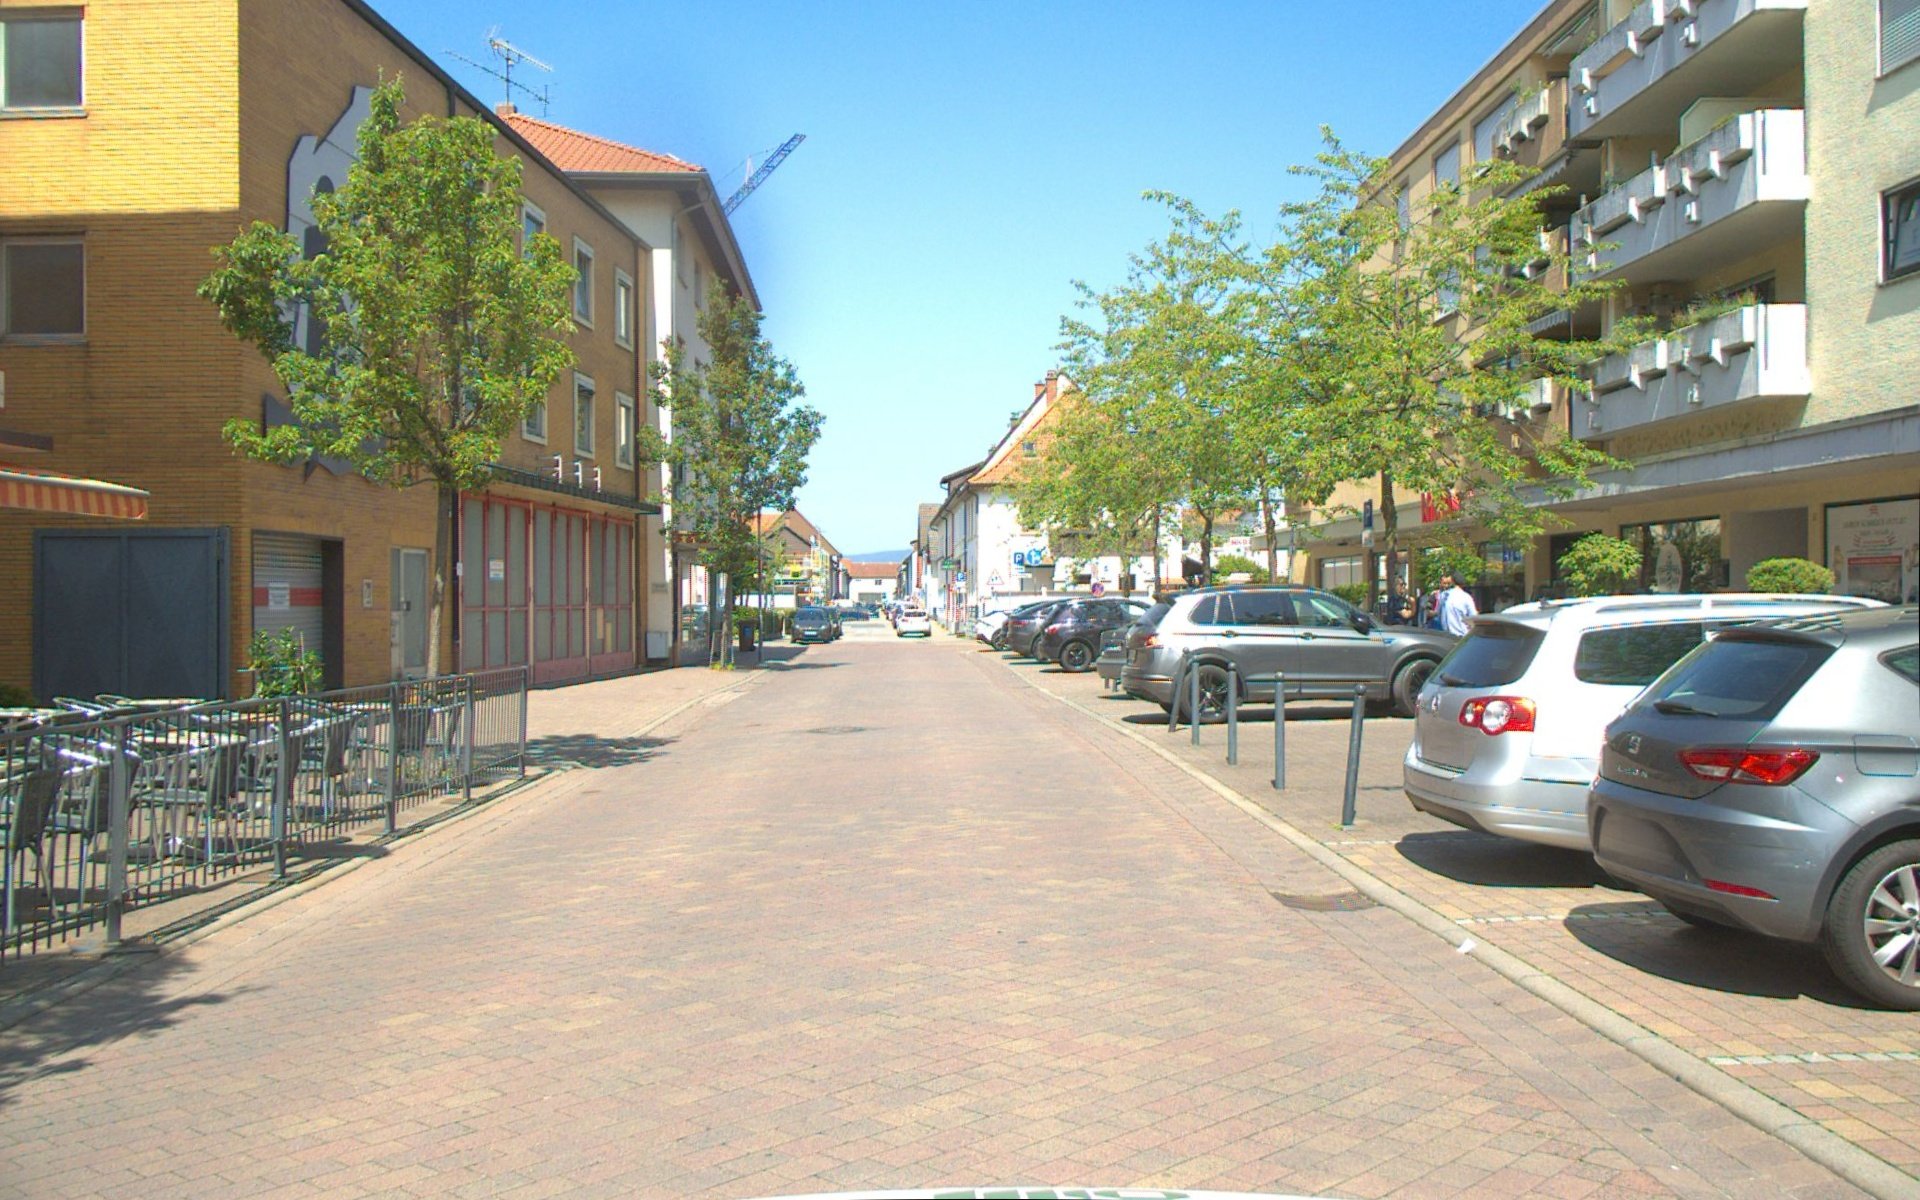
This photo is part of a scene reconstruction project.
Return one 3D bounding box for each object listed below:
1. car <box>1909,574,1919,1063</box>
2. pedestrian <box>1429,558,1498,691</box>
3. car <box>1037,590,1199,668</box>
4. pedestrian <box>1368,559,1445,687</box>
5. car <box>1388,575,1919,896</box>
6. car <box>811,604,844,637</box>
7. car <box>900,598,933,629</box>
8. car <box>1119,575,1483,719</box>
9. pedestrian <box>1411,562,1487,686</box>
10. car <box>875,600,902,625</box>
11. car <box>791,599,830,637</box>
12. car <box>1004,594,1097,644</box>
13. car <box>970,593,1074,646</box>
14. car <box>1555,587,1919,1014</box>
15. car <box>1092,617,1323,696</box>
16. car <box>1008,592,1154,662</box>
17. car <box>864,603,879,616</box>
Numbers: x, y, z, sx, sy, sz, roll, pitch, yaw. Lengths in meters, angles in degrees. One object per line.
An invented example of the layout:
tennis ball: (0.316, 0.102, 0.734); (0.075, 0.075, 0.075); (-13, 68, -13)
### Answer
car: (5.190, 0.655, 4.558); (4.101, 1.568, 1.944); (-1, 0, -6)
pedestrian: (7.049, 0.332, 23.184); (0.819, 1.818, 0.807); (-1, 1, 10)
car: (3.577, 0.646, 37.772); (3.452, 1.684, 1.709); (-1, -1, -3)
pedestrian: (6.530, 0.321, 24.215); (0.822, 1.818, 0.805); (-1, 1, -8)
car: (4.700, 0.677, 9.401); (4.068, 1.601, 1.759); (-1, 1, -1)
car: (-6.766, 1.020, 84.530); (1.477, 1.526, 3.826); (-1, 1, -2)
car: (-2.415, 0.728, 91.593); (1.794, 1.559, 3.944); (-1, 1, -2)
car: (4.168, 0.557, 20.557); (4.159, 1.643, 1.557); (-1, 0, -3)
pedestrian: (7.332, 0.343, 24.844); (0.822, 1.818, 0.805); (-1, 1, -8)
car: (-4.781, 0.825, 111.158); (1.711, 1.507, 3.628); (-1, 1, -1)
car: (-6.530, 0.768, 72.532); (1.477, 1.526, 3.826); (-1, 1, -2)
car: (3.306, 0.694, 60.958); (3.281, 1.745, 1.469); (-1, -1, -3)
car: (2.155, 0.672, 57.837); (3.412, 1.730, 1.533); (-2, 0, -7)
car: (4.658, 0.692, 6.732); (3.855, 1.515, 1.716); (-1, 0, 3)
car: (3.927, 0.881, 26.445); (3.454, 1.161, 1.272); (-1, -1, -6)
car: (3.007, 0.662, 41.439); (3.452, 1.653, 1.709); (-1, -1, -3)
car: (-10.589, 1.117, 197.890); (1.711, 1.507, 3.628); (-1, 1, -1)
